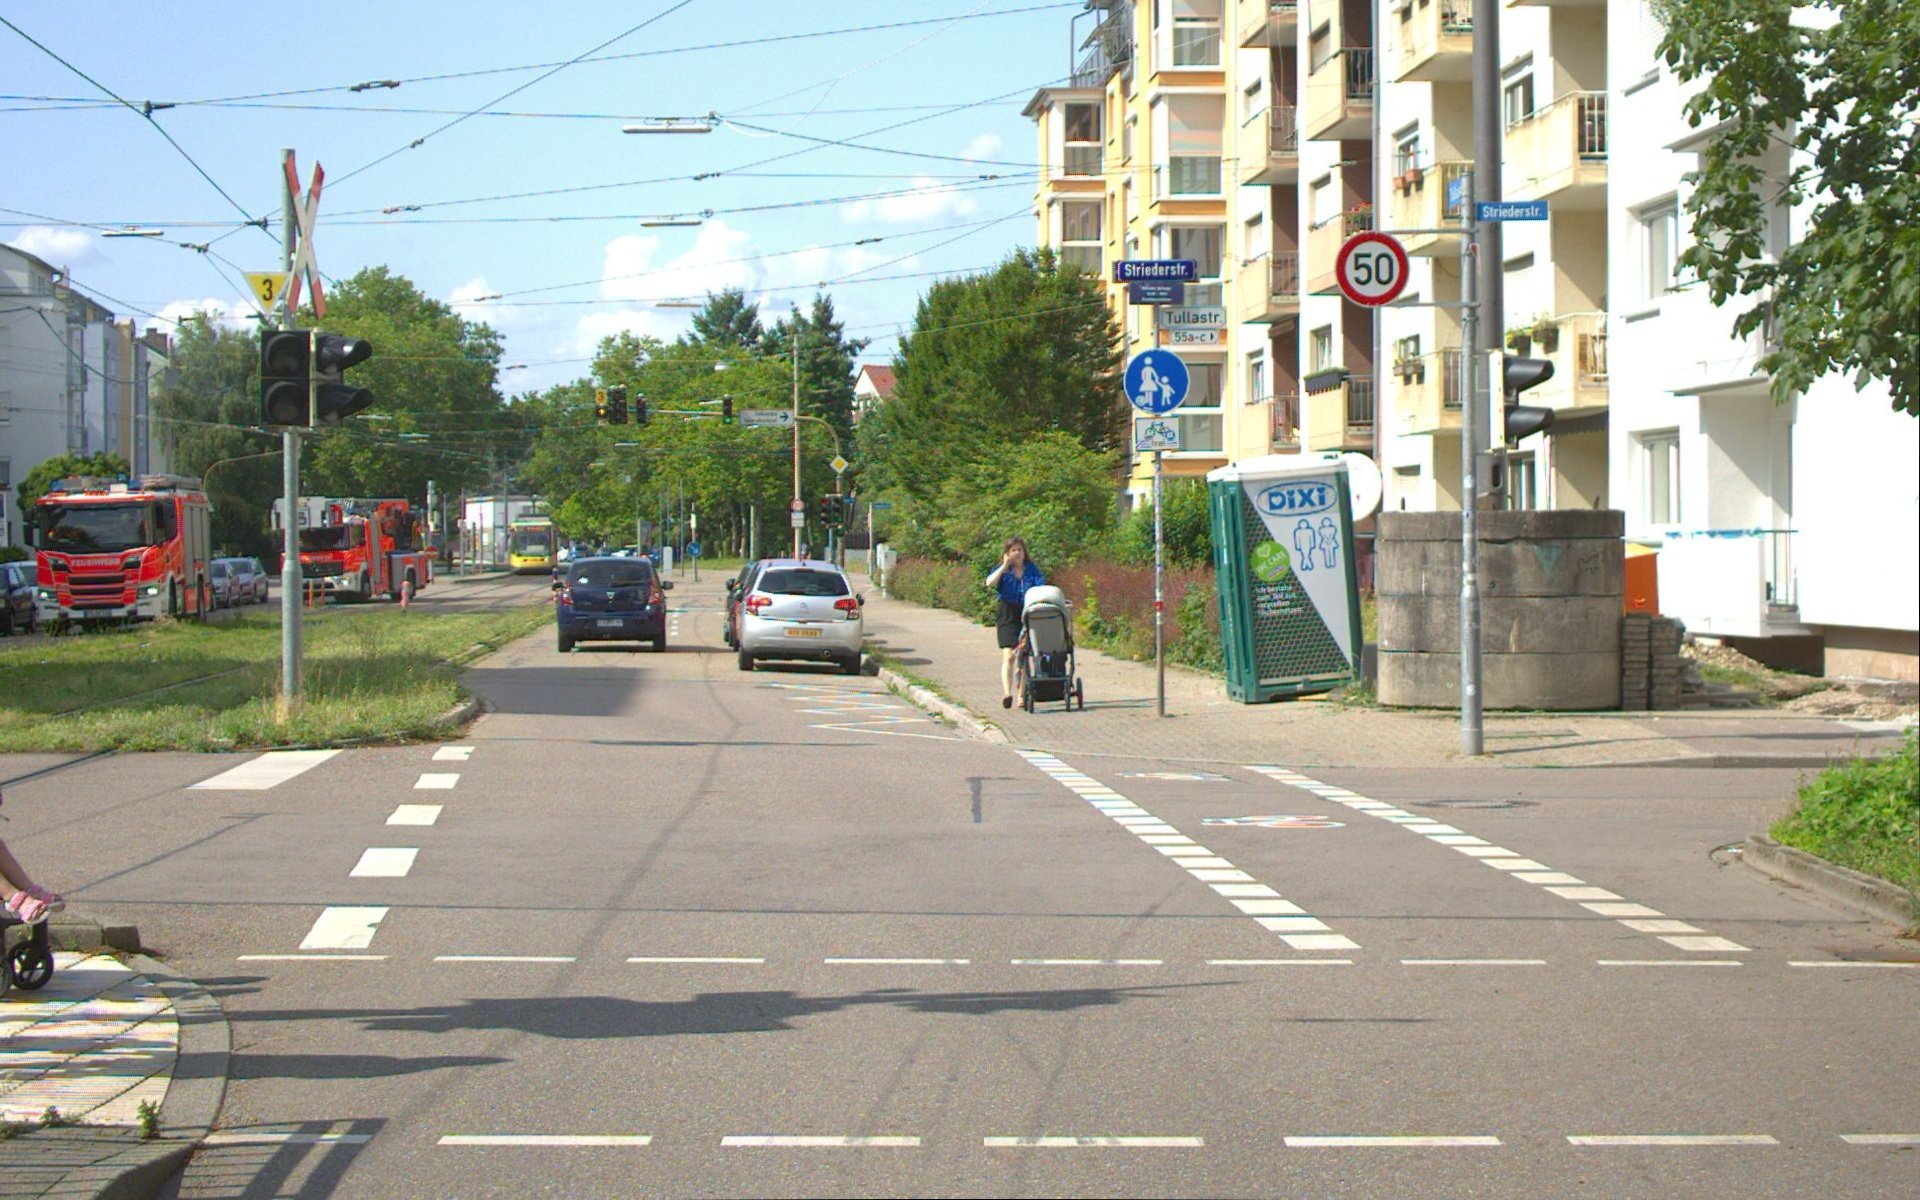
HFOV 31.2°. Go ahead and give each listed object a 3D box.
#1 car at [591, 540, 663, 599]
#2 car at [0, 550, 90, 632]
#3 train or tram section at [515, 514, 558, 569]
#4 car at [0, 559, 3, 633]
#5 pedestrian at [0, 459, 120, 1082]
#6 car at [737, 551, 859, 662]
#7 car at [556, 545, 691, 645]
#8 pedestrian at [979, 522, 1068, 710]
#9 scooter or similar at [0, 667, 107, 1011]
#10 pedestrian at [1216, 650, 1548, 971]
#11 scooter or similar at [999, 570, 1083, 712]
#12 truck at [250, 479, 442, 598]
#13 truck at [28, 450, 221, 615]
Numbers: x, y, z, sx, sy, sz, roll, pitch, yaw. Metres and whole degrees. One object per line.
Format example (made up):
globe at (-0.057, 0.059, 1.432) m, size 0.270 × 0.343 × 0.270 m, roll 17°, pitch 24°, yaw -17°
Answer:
car at (-8.872, -0.815, 91.770) m, size 1.743 × 1.502 × 4.001 m, roll 1°, pitch 0°, yaw -4°
car at (-20.446, -0.221, 75.331) m, size 1.993 × 1.705 × 4.001 m, roll 1°, pitch 0°, yaw -4°
train or tram section at (-24.340, -3.382, 197.646) m, size 2.258 × 3.058 × 8.135 m, roll -1°, pitch 1°, yaw -6°
car at (-19.269, -0.077, 64.435) m, size 1.768 × 1.437 × 4.001 m, roll 1°, pitch 0°, yaw -4°
pedestrian at (-2.896, 0.457, 9.408) m, size 0.798 × 1.662 × 0.846 m, roll 0°, pitch 0°, yaw 44°
car at (-2.278, 0.074, 48.264) m, size 1.622 × 1.460 × 3.511 m, roll 1°, pitch 0°, yaw -3°
car at (-5.371, -0.092, 55.223) m, size 1.744 × 1.502 × 4.000 m, roll 1°, pitch 0°, yaw 0°
pedestrian at (0.620, 0.145, 33.891) m, size 0.701 × 1.783 × 1.030 m, roll -3°, pitch 1°, yaw -4°
scooter or similar at (-3.371, 0.746, 11.060) m, size 1.100 × 1.052 × 0.650 m, roll 1°, pitch 0°, yaw -3°
pedestrian at (2.974, 1.436, 25.002) m, size 1.993 × 2.007 × 4.000 m, roll 1°, pitch 0°, yaw 2°
scooter or similar at (0.775, 0.381, 33.044) m, size 0.662 × 1.299 × 0.868 m, roll -4°, pitch 1°, yaw -3°
truck at (-18.979, -1.850, 106.983) m, size 2.667 × 3.459 × 10.164 m, roll 1°, pitch 0°, yaw 9°
truck at (-17.142, -1.353, 71.050) m, size 2.596 × 3.175 × 8.384 m, roll 0°, pitch 1°, yaw -5°
